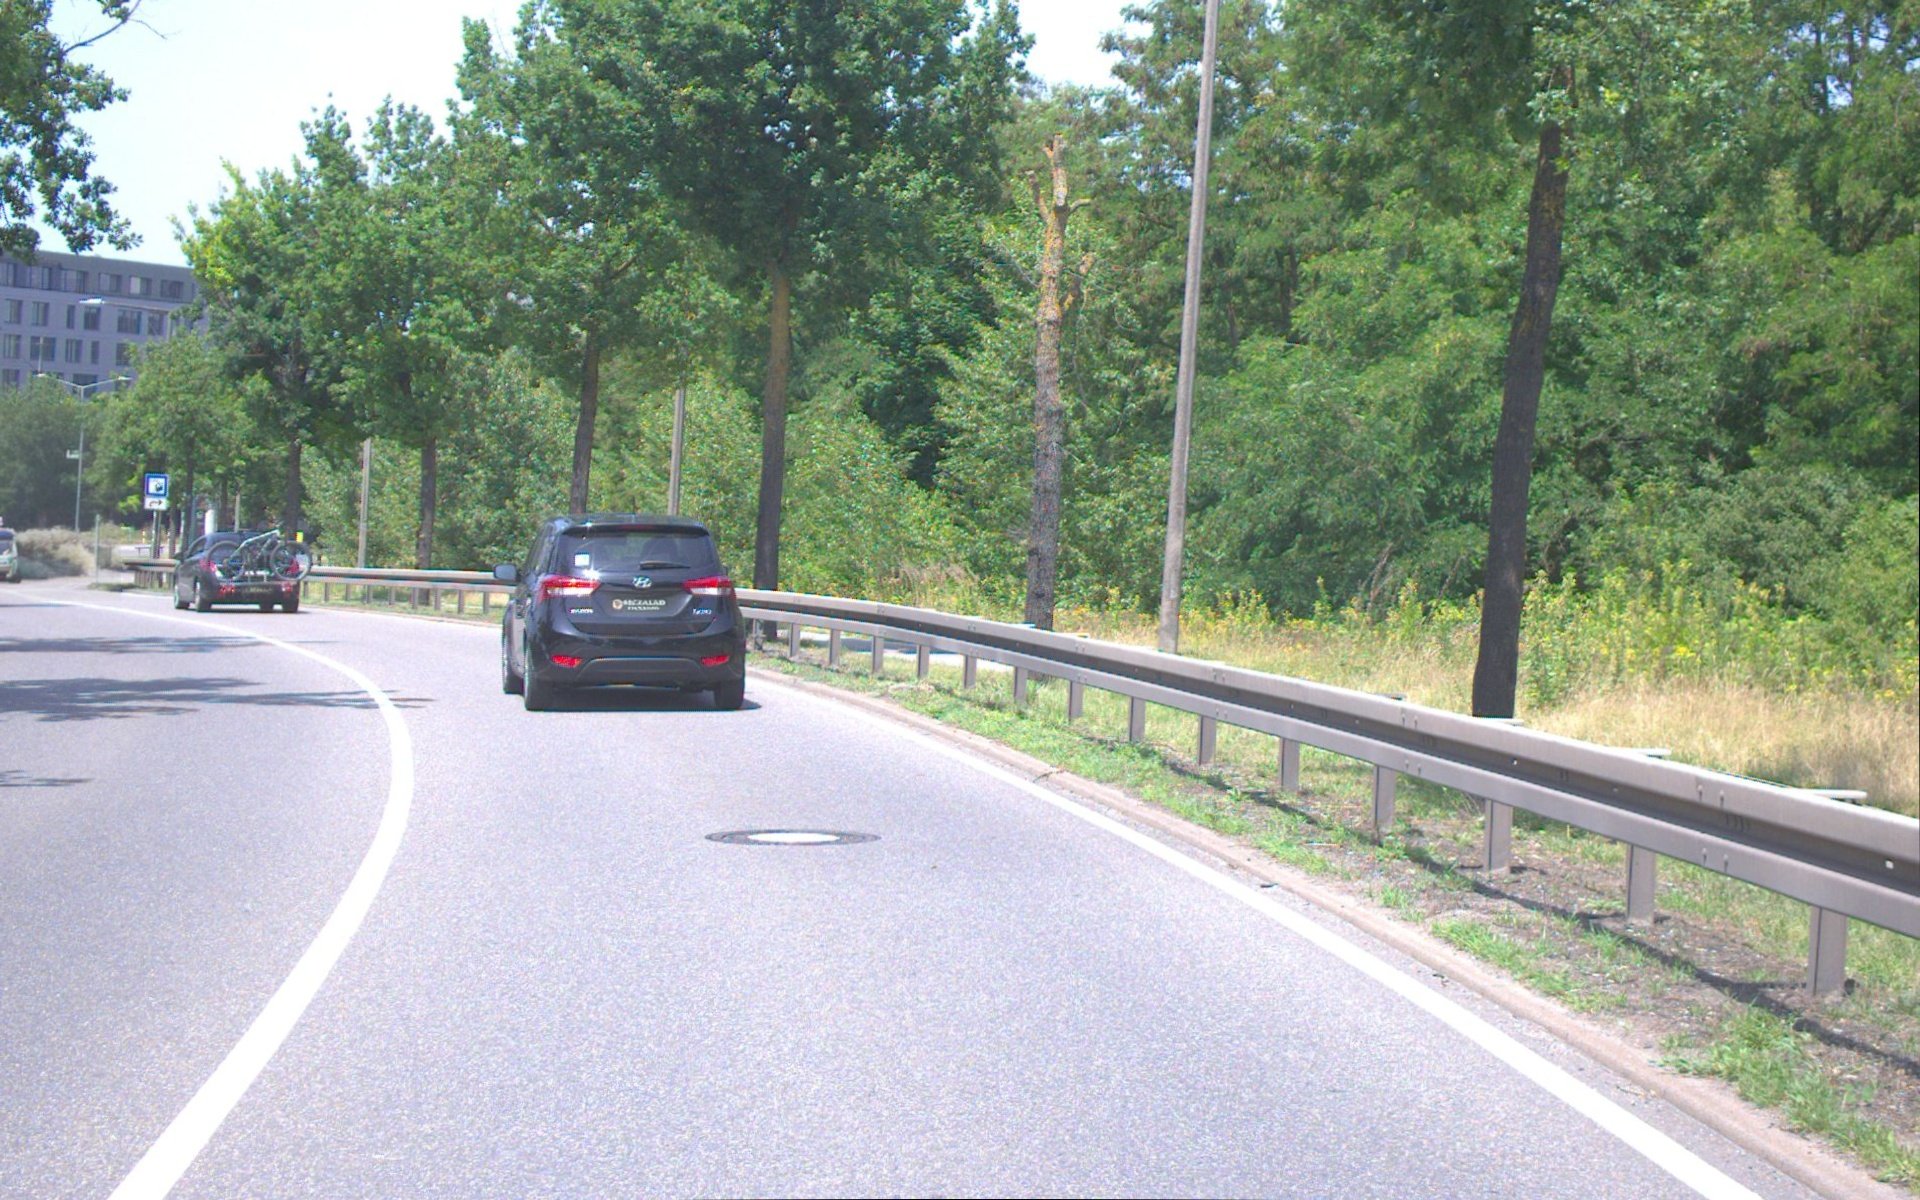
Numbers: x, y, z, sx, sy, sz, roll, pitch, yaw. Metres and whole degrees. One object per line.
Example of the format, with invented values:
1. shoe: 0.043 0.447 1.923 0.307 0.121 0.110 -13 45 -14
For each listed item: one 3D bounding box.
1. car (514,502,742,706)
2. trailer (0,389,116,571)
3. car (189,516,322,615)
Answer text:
1. car: -2.862 -0.028 28.973 1.766 1.593 4.079 0 2 -8
2. trailer: -24.880 -3.262 91.429 3.077 4.353 14.780 2 2 -20
3. car: -12.493 -0.619 60.792 1.956 1.628 4.281 2 0 -16
